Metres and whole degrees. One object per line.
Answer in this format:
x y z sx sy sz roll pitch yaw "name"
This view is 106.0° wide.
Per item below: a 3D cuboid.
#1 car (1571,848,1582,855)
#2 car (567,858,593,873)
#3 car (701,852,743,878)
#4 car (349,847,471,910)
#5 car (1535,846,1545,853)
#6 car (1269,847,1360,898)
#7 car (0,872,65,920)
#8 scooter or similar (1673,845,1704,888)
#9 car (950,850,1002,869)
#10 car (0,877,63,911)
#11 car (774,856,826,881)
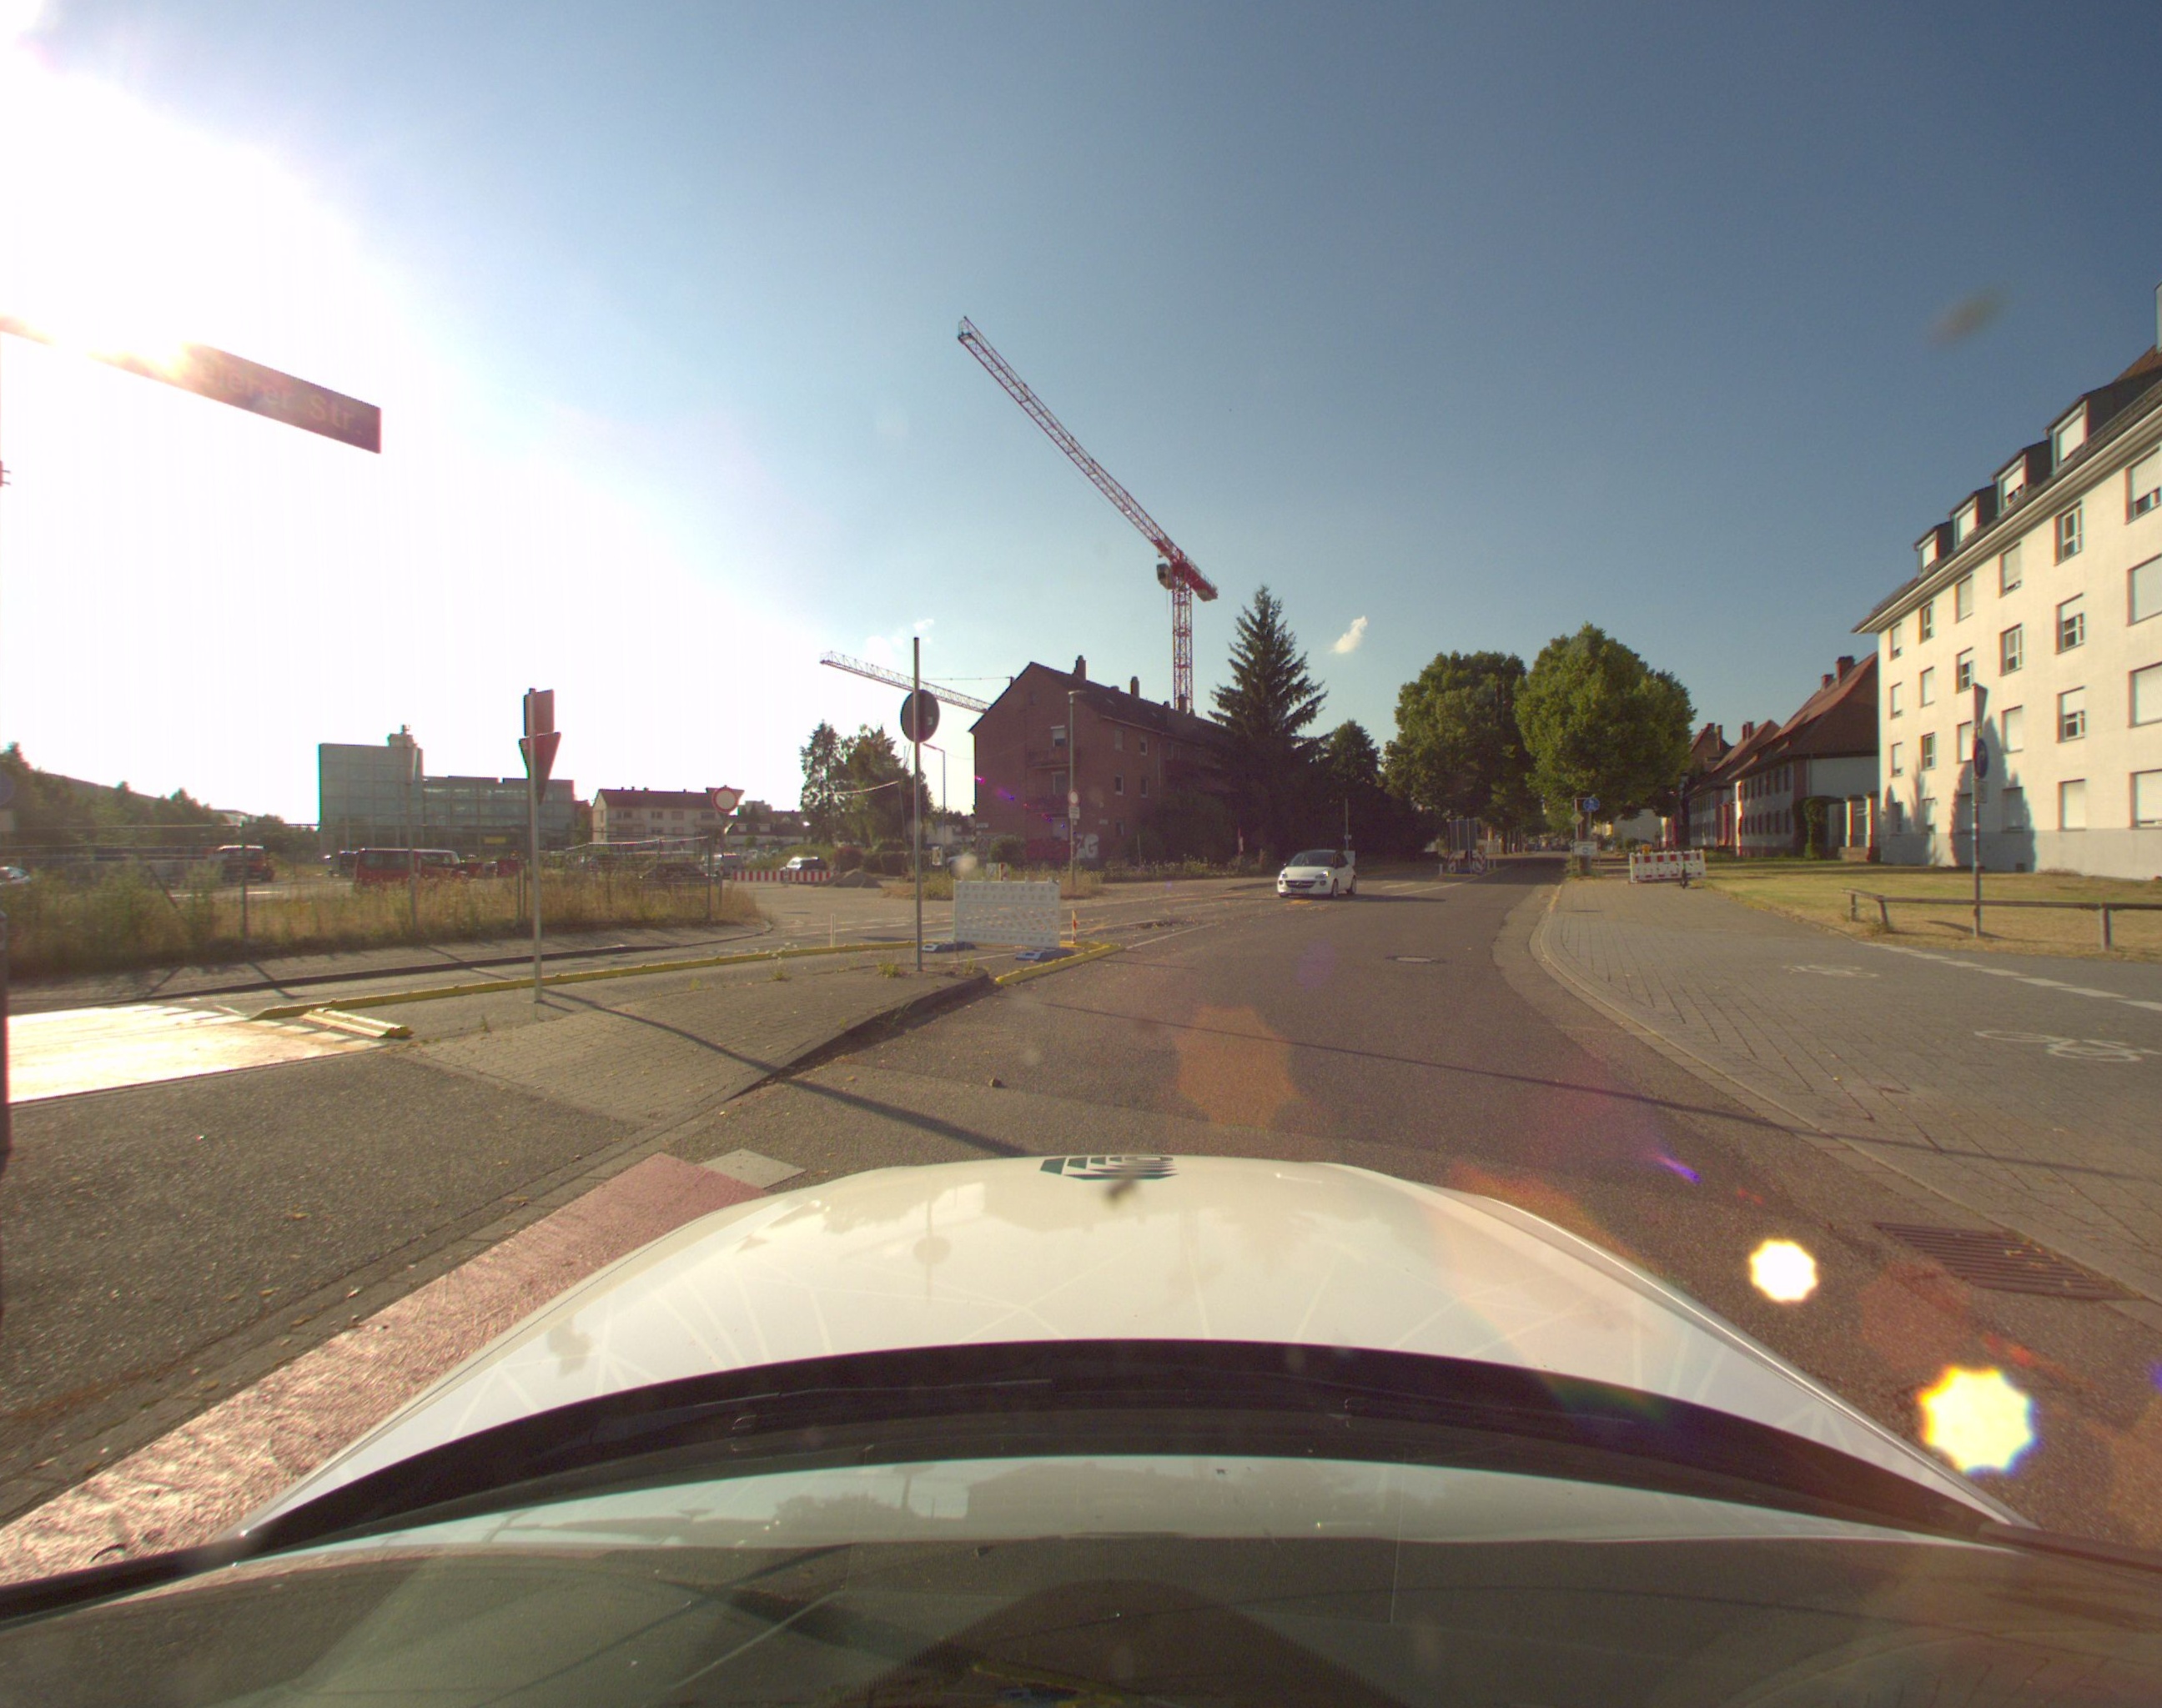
119.027 -0.541 195.610 1.698 1.486 4.023 -2 -1 25 "car"
-62.983 1.395 102.312 2.164 1.838 4.310 0 0 -41 "car"
-28.929 0.864 65.508 1.879 1.947 3.951 -1 0 -43 "car"
-23.805 0.796 29.136 2.003 2.013 5.271 -1 0 -24 "car"
117.552 -1.076 208.480 1.975 1.688 4.023 -1 -1 26 "car"
7.333 0.513 25.375 1.742 1.421 3.648 1 1 33 "car"
-32.987 1.256 23.600 1.974 1.363 4.272 -1 0 34 "car"
19.633 0.397 26.347 0.553 1.292 1.472 -7 -3 31 "scooter or similar"
-8.507 0.436 66.248 3.975 1.530 1.999 -1 0 -1 "car"
-41.417 1.529 31.570 1.337 1.166 3.894 0 0 -34 "car"
-18.512 0.927 53.593 2.010 1.552 3.954 -1 0 -39 "car"
